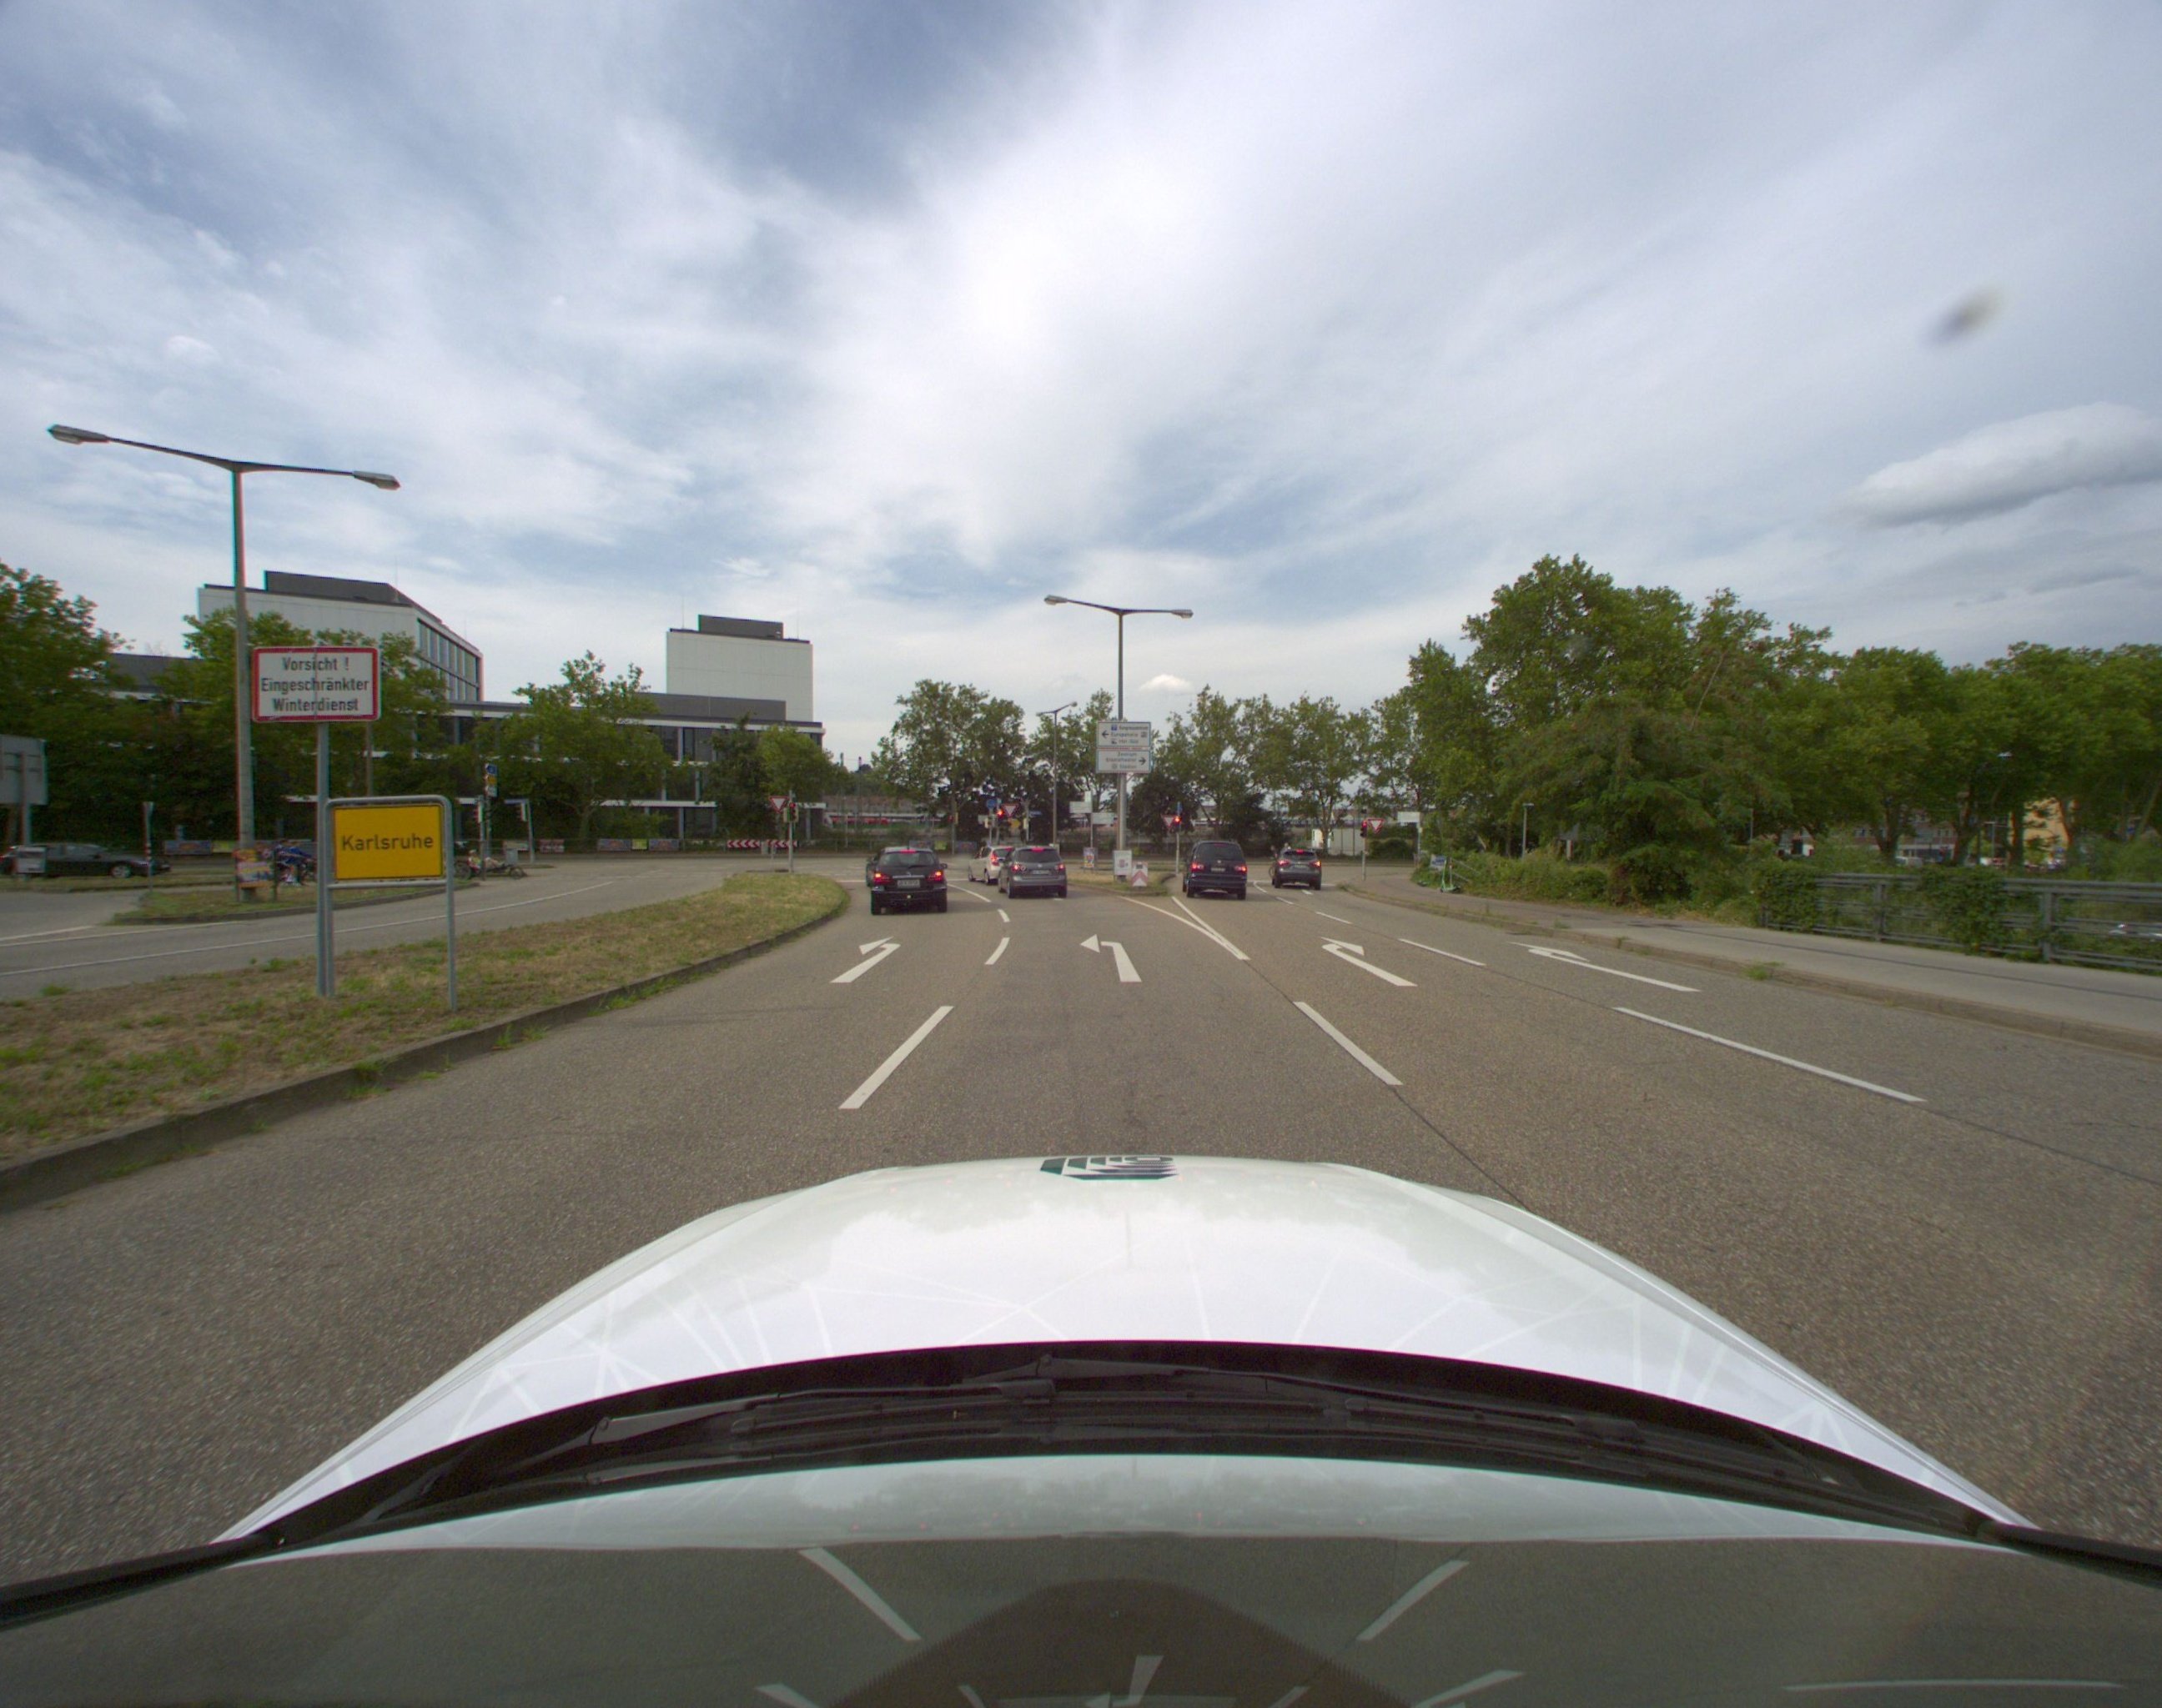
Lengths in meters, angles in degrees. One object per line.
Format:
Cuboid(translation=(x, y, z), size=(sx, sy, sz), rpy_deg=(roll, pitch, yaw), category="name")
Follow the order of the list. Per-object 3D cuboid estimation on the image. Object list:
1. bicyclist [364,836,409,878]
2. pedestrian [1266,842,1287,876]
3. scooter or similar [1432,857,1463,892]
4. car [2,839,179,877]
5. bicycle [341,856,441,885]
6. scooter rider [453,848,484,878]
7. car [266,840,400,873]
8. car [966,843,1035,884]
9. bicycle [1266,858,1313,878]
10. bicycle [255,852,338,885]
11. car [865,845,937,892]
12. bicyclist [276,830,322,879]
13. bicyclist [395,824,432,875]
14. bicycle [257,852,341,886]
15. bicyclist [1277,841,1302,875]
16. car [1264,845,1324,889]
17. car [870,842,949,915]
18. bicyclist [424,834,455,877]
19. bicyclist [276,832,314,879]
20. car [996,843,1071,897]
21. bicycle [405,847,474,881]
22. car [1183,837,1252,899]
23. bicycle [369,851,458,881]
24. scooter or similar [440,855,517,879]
Cuboid(translation=(-24.081, 0.093, 28.268), size=(1.122, 1.436, 0.641), rpy_deg=(-1, 2, -37), category="bicyclist")
Cuboid(translation=(10.248, 0.249, 42.670), size=(1.040, 1.710, 0.856), rpy_deg=(1, 1, 13), category="pedestrian")
Cuboid(translation=(12.679, 0.699, 28.187), size=(0.396, 1.183, 1.278), rpy_deg=(0, 0, -5), category="scooter or similar")
Cuboid(translation=(-39.065, 0.131, 32.262), size=(4.075, 1.450, 1.690), rpy_deg=(0, 1, -24), category="car")
Cuboid(translation=(-23.970, 0.561, 28.364), size=(2.603, 0.890, 0.697), rpy_deg=(-1, 2, -36), category="bicycle")
Cuboid(translation=(-23.940, 0.353, 31.851), size=(0.921, 1.137, 0.799), rpy_deg=(-1, 2, -40), category="scooter rider")
Cuboid(translation=(-31.837, 0.067, 34.836), size=(4.090, 1.367, 1.683), rpy_deg=(-1, 1, -38), category="car")
Cuboid(translation=(-3.213, 0.327, 31.887), size=(1.747, 1.482, 4.054), rpy_deg=(0, 1, -20), category="car")
Cuboid(translation=(10.520, 0.690, 41.122), size=(2.209, 0.952, 0.816), rpy_deg=(0, 1, 21), category="bicycle")
Cuboid(translation=(-25.757, 0.470, 26.782), size=(1.918, 1.013, 0.621), rpy_deg=(-1, 2, -42), category="bicycle")
Cuboid(translation=(-6.267, 0.436, 27.955), size=(1.825, 1.414, 4.745), rpy_deg=(0, 1, -20), category="car")
Cuboid(translation=(-25.155, 0.009, 26.207), size=(1.025, 1.539, 0.621), rpy_deg=(-1, 2, -43), category="bicyclist")
Cuboid(translation=(-22.140, -0.166, 27.015), size=(0.888, 1.656, 0.802), rpy_deg=(-1, 1, -42), category="bicyclist")
Cuboid(translation=(-25.141, 0.468, 26.237), size=(1.918, 1.013, 0.621), rpy_deg=(-1, 2, -43), category="bicycle")
Cuboid(translation=(10.521, 0.206, 41.114), size=(1.102, 1.696, 0.817), rpy_deg=(0, 1, 21), category="bicyclist")
Cuboid(translation=(8.659, 0.485, 33.404), size=(1.741, 1.643, 4.145), rpy_deg=(2, 0, 6), category="car")
Cuboid(translation=(-4.321, 0.533, 20.517), size=(1.758, 1.575, 4.020), rpy_deg=(0, 2, -12), category="car")
Cuboid(translation=(-23.592, 0.040, 29.951), size=(0.784, 1.581, 0.648), rpy_deg=(-1, 1, -31), category="bicyclist")
Cuboid(translation=(-25.781, 0.042, 26.733), size=(0.846, 1.529, 0.621), rpy_deg=(-1, 2, -42), category="bicyclist")
Cuboid(translation=(-1.564, 0.428, 25.362), size=(1.743, 1.546, 4.064), rpy_deg=(0, 1, -12), category="car")
Cuboid(translation=(-23.588, 0.362, 29.974), size=(1.913, 1.210, 0.637), rpy_deg=(-1, 2, -31), category="bicycle")
Cuboid(translation=(4.185, 0.383, 25.444), size=(1.742, 1.724, 4.143), rpy_deg=(2, 0, 5), category="car")
Cuboid(translation=(-22.139, 0.380, 27.046), size=(2.248, 0.952, 0.802), rpy_deg=(-1, 1, -43), category="bicycle")
Cuboid(translation=(-23.696, 0.497, 32.068), size=(2.399, 0.849, 0.799), rpy_deg=(-1, 2, -40), category="scooter or similar")
